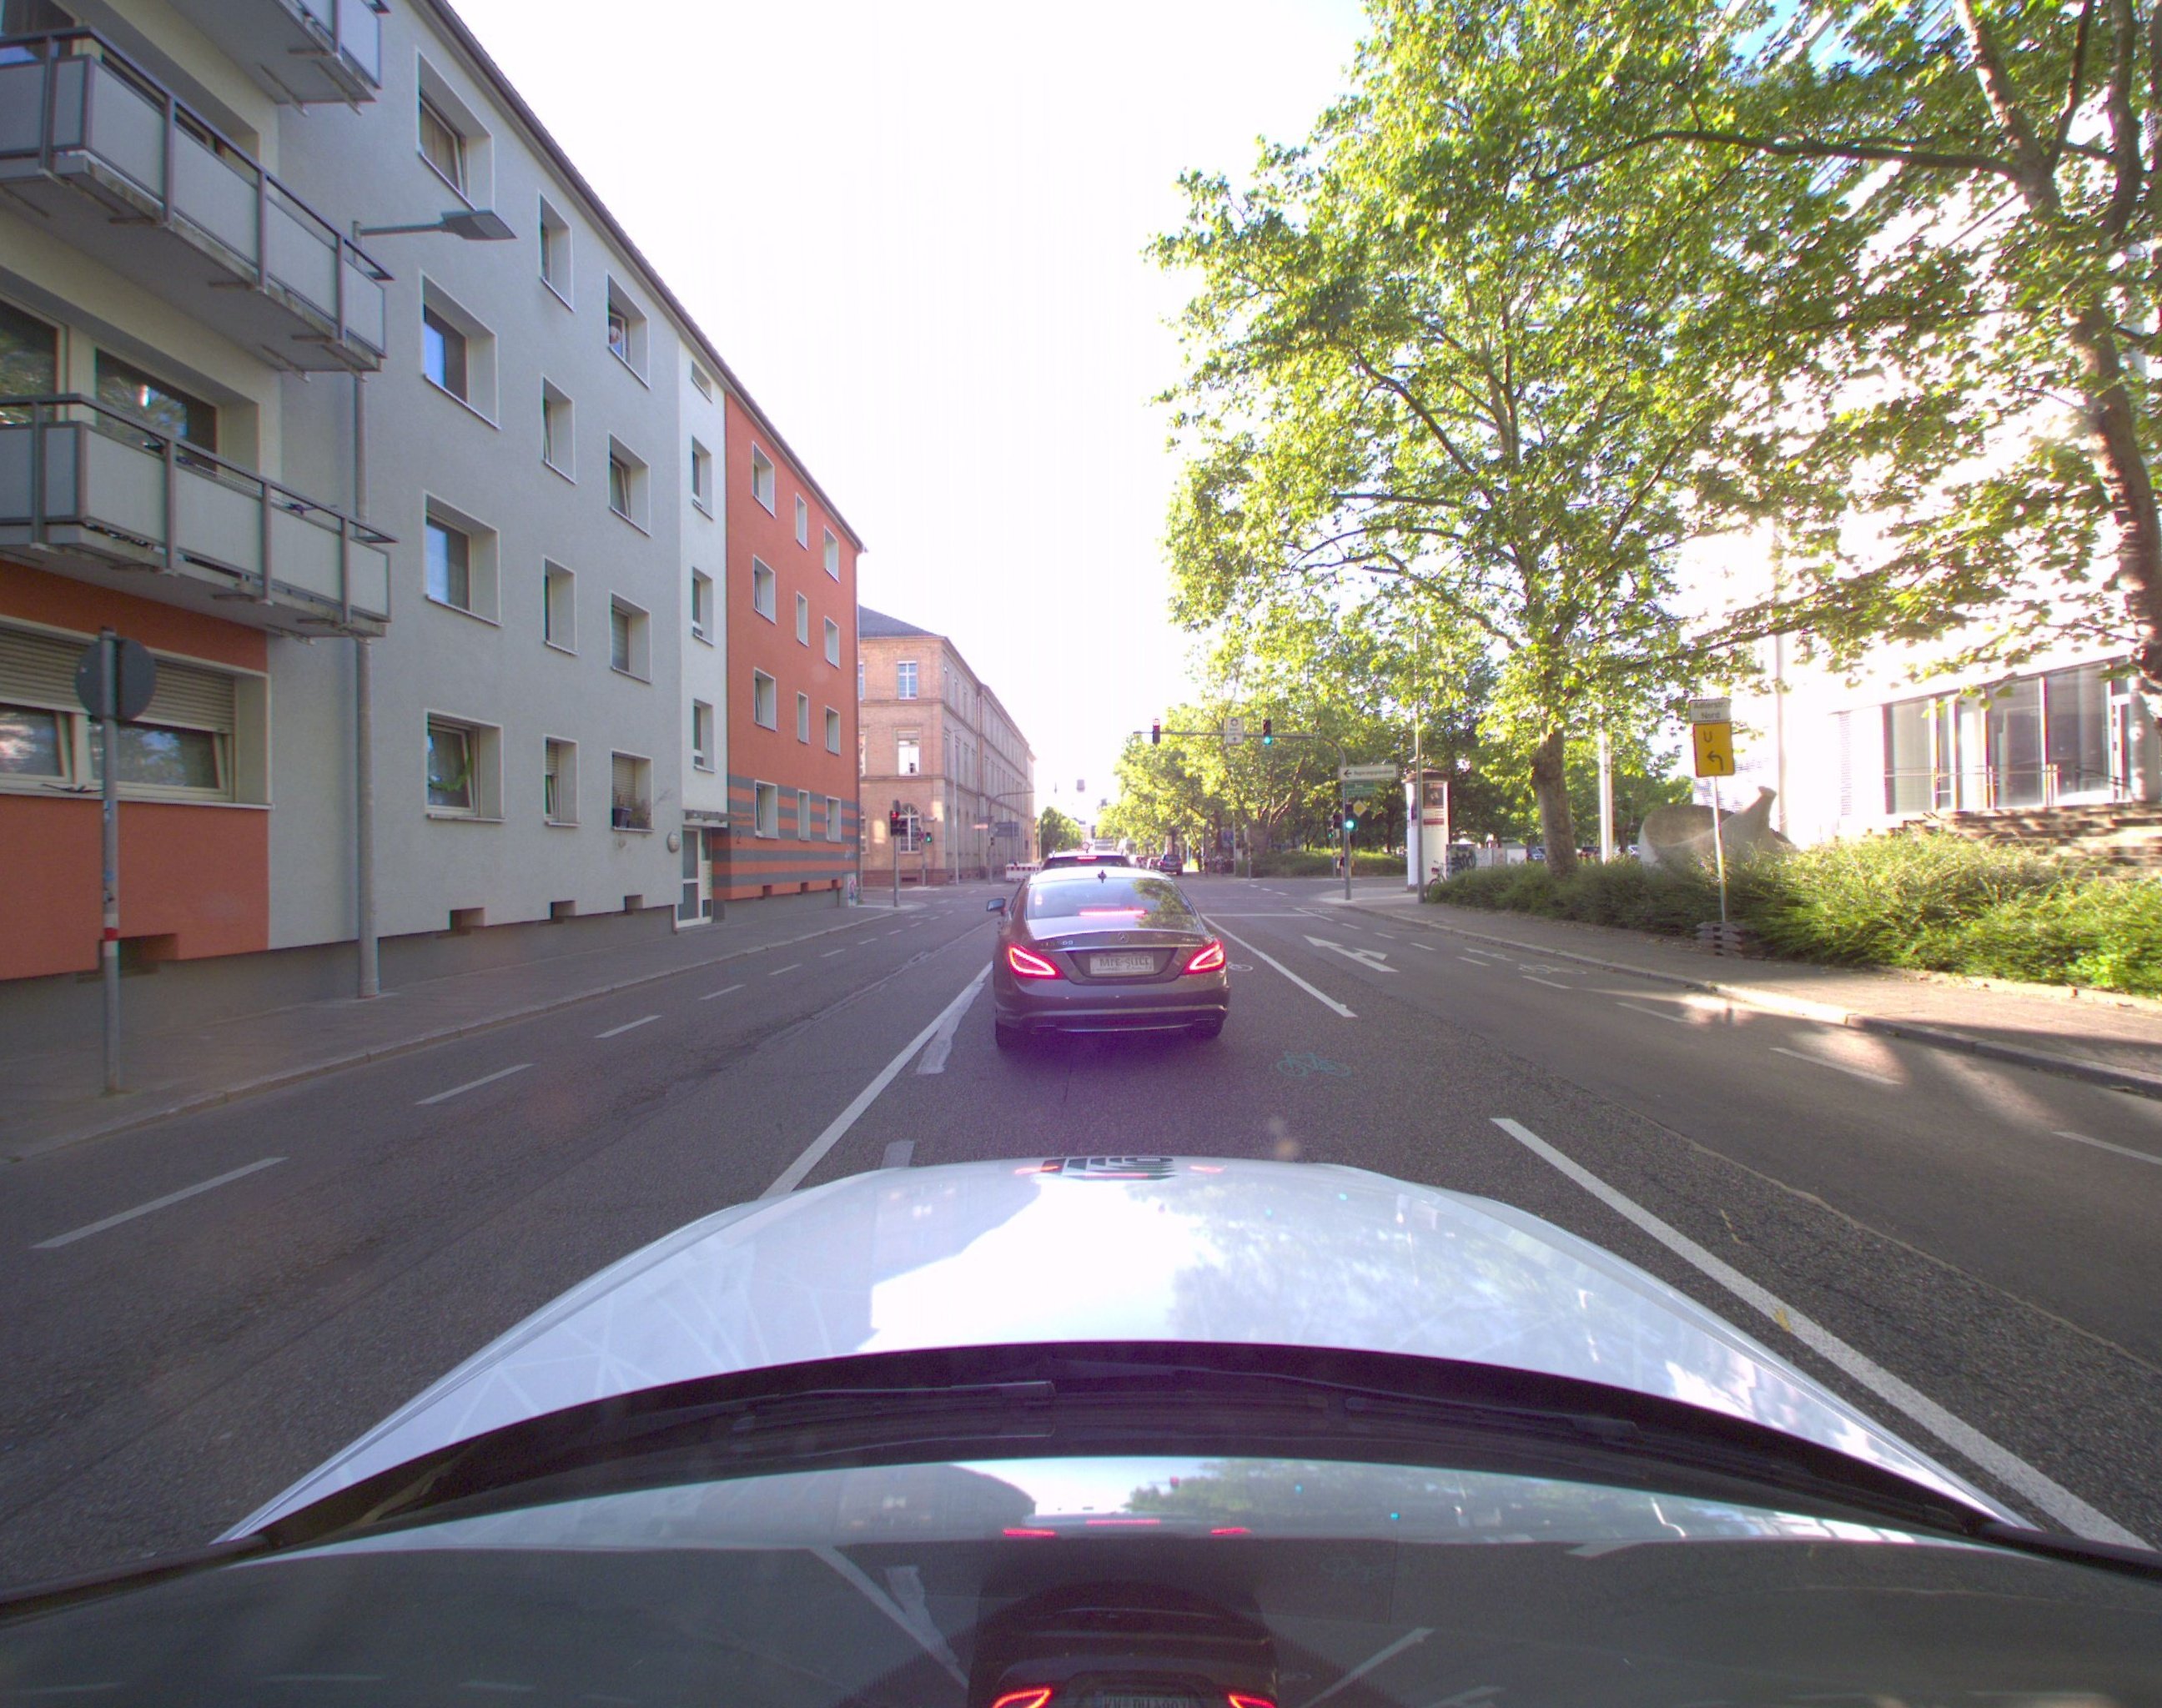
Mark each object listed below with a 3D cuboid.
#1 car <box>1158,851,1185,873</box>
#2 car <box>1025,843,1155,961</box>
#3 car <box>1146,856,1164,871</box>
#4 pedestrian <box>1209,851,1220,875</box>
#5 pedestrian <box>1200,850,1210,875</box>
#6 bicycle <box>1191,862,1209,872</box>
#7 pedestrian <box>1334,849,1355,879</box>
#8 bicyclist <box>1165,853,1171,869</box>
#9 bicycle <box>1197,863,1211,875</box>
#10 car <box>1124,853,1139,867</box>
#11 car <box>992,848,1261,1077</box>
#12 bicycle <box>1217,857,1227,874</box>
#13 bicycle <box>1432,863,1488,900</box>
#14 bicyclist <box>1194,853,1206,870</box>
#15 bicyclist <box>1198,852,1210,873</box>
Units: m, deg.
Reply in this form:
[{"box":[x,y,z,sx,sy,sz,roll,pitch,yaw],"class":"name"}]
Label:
[{"box":[7.335,0.644,66.601,1.854,1.764,4.483,-1,0,2],"class":"car"},{"box":[0.191,0.696,13.727,1.854,1.682,4.002,-1,0,2],"class":"car"},{"box":[7.965,1.028,88.401,1.698,1.519,4.002,-1,0,2],"class":"car"},{"box":[9.641,0.640,58.937,0.634,1.760,0.698,0,-1,-2],"class":"pedestrian"},{"box":[8.952,0.609,58.876,0.634,1.797,0.698,0,-1,-2],"class":"pedestrian"},{"box":[9.778,1.079,66.923,0.716,0.791,1.940,-1,-1,30],"class":"bicycle"},{"box":[13.564,0.501,41.984,0.636,1.545,0.906,0,-1,-12],"class":"pedestrian"},{"box":[11.204,0.854,104.883,0.593,2.039,0.566,0,-1,-3],"class":"bicyclist"},{"box":[9.588,1.133,63.501,0.825,0.924,2.618,0,-1,2],"class":"bicycle"},{"box":[6.444,0.772,104.092,1.725,1.662,3.682,0,-1,2],"class":"car"},{"box":[0.143,0.737,7.592,1.859,1.519,3.992,-1,0,-6],"class":"car"},{"box":[10.212,0.826,59.052,0.480,1.202,1.607,0,-1,2],"class":"bicycle"},{"box":[10.983,0.780,23.566,1.895,1.028,0.635,0,-1,-36],"class":"bicycle"},{"box":[9.786,0.606,66.916,0.726,1.398,0.703,-1,-1,30],"class":"bicyclist"},{"box":[9.583,0.630,63.418,0.822,1.618,0.958,0,-1,1],"class":"bicyclist"}]
